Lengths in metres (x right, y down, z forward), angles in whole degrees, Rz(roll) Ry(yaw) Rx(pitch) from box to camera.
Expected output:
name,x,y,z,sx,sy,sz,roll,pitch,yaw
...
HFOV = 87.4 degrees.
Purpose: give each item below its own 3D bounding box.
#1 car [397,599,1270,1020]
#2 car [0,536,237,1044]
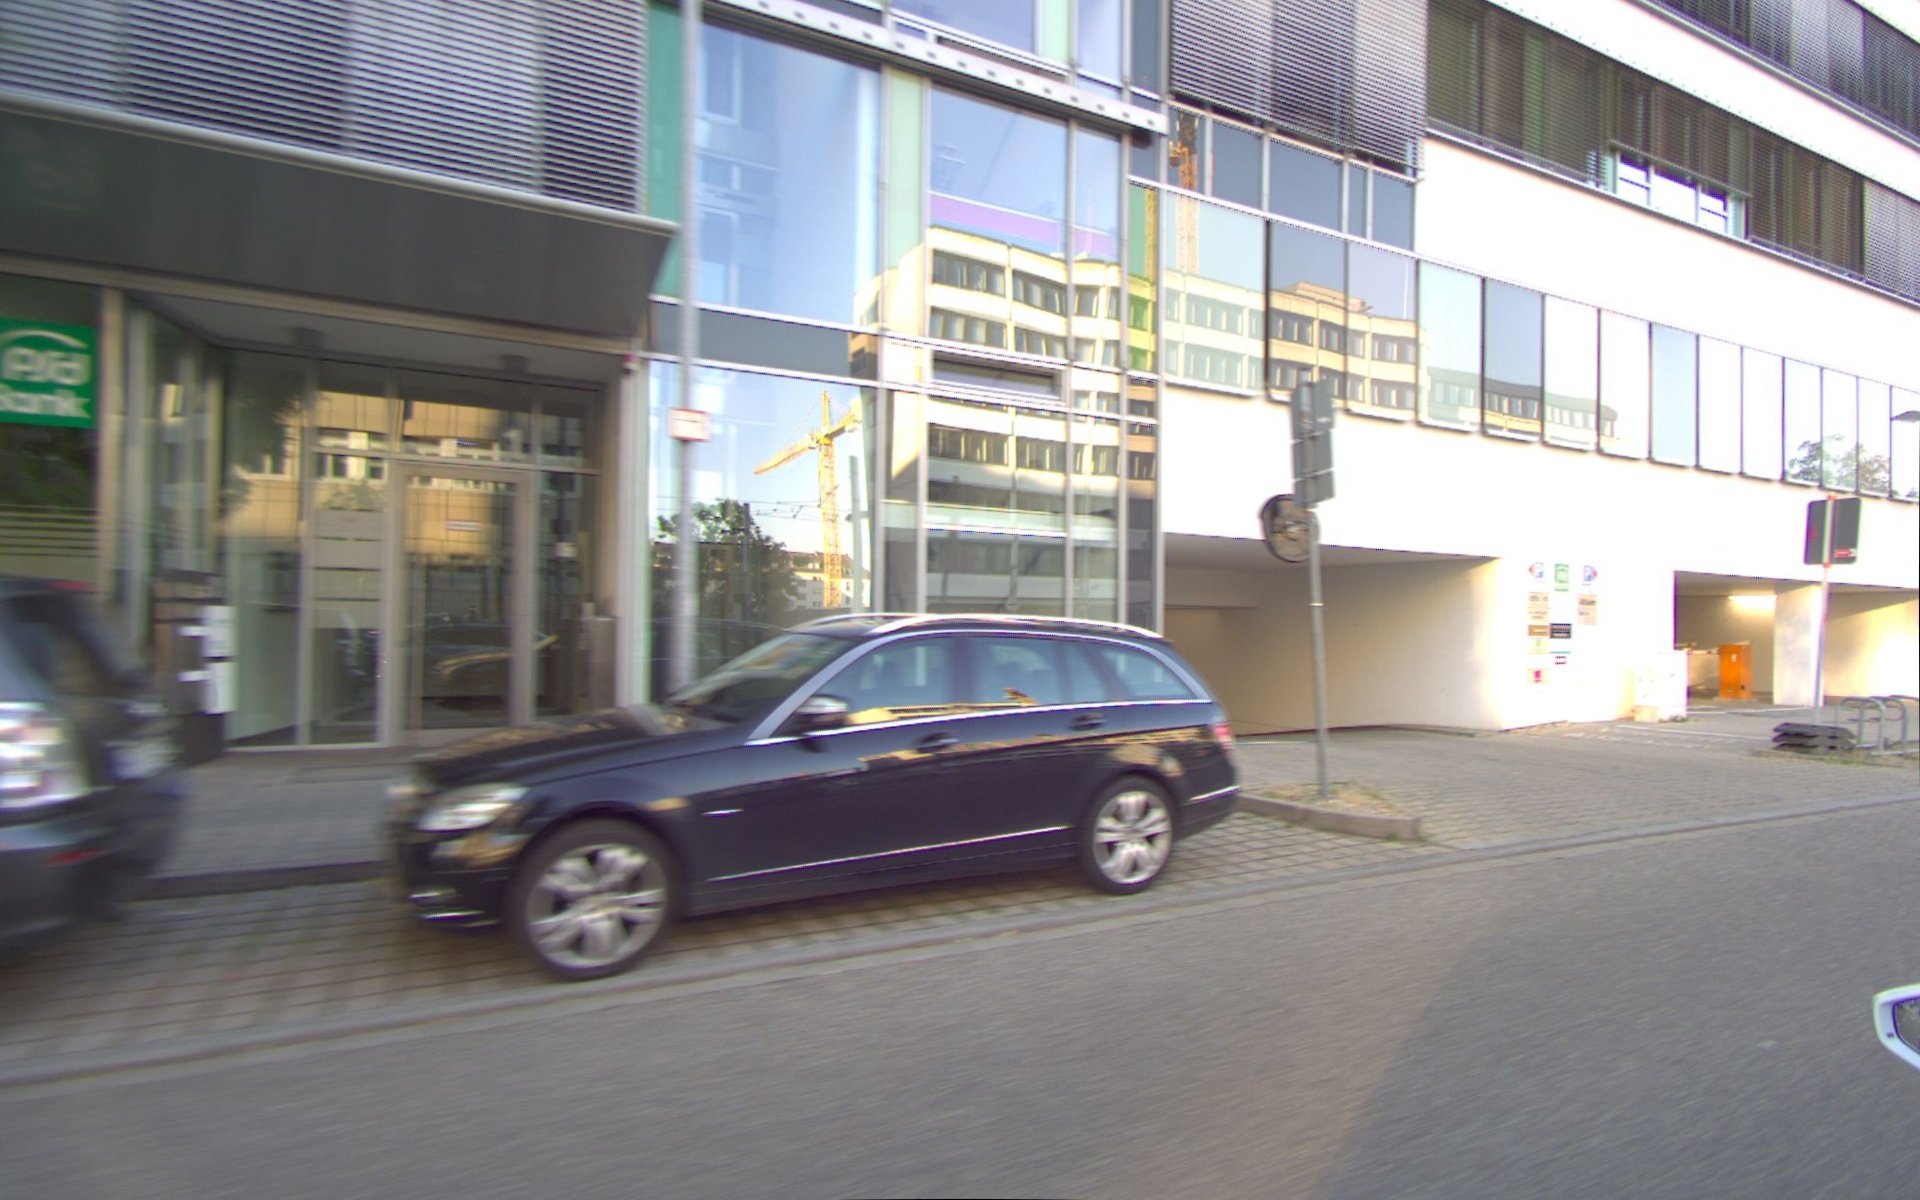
name,x,y,z,sx,sy,sz,roll,pitch,yaw
car,-0.501,0.781,5.394,4.349,1.471,1.706,1,-1,-31
car,-5.032,0.574,3.143,4.212,1.592,1.837,1,-1,-27
